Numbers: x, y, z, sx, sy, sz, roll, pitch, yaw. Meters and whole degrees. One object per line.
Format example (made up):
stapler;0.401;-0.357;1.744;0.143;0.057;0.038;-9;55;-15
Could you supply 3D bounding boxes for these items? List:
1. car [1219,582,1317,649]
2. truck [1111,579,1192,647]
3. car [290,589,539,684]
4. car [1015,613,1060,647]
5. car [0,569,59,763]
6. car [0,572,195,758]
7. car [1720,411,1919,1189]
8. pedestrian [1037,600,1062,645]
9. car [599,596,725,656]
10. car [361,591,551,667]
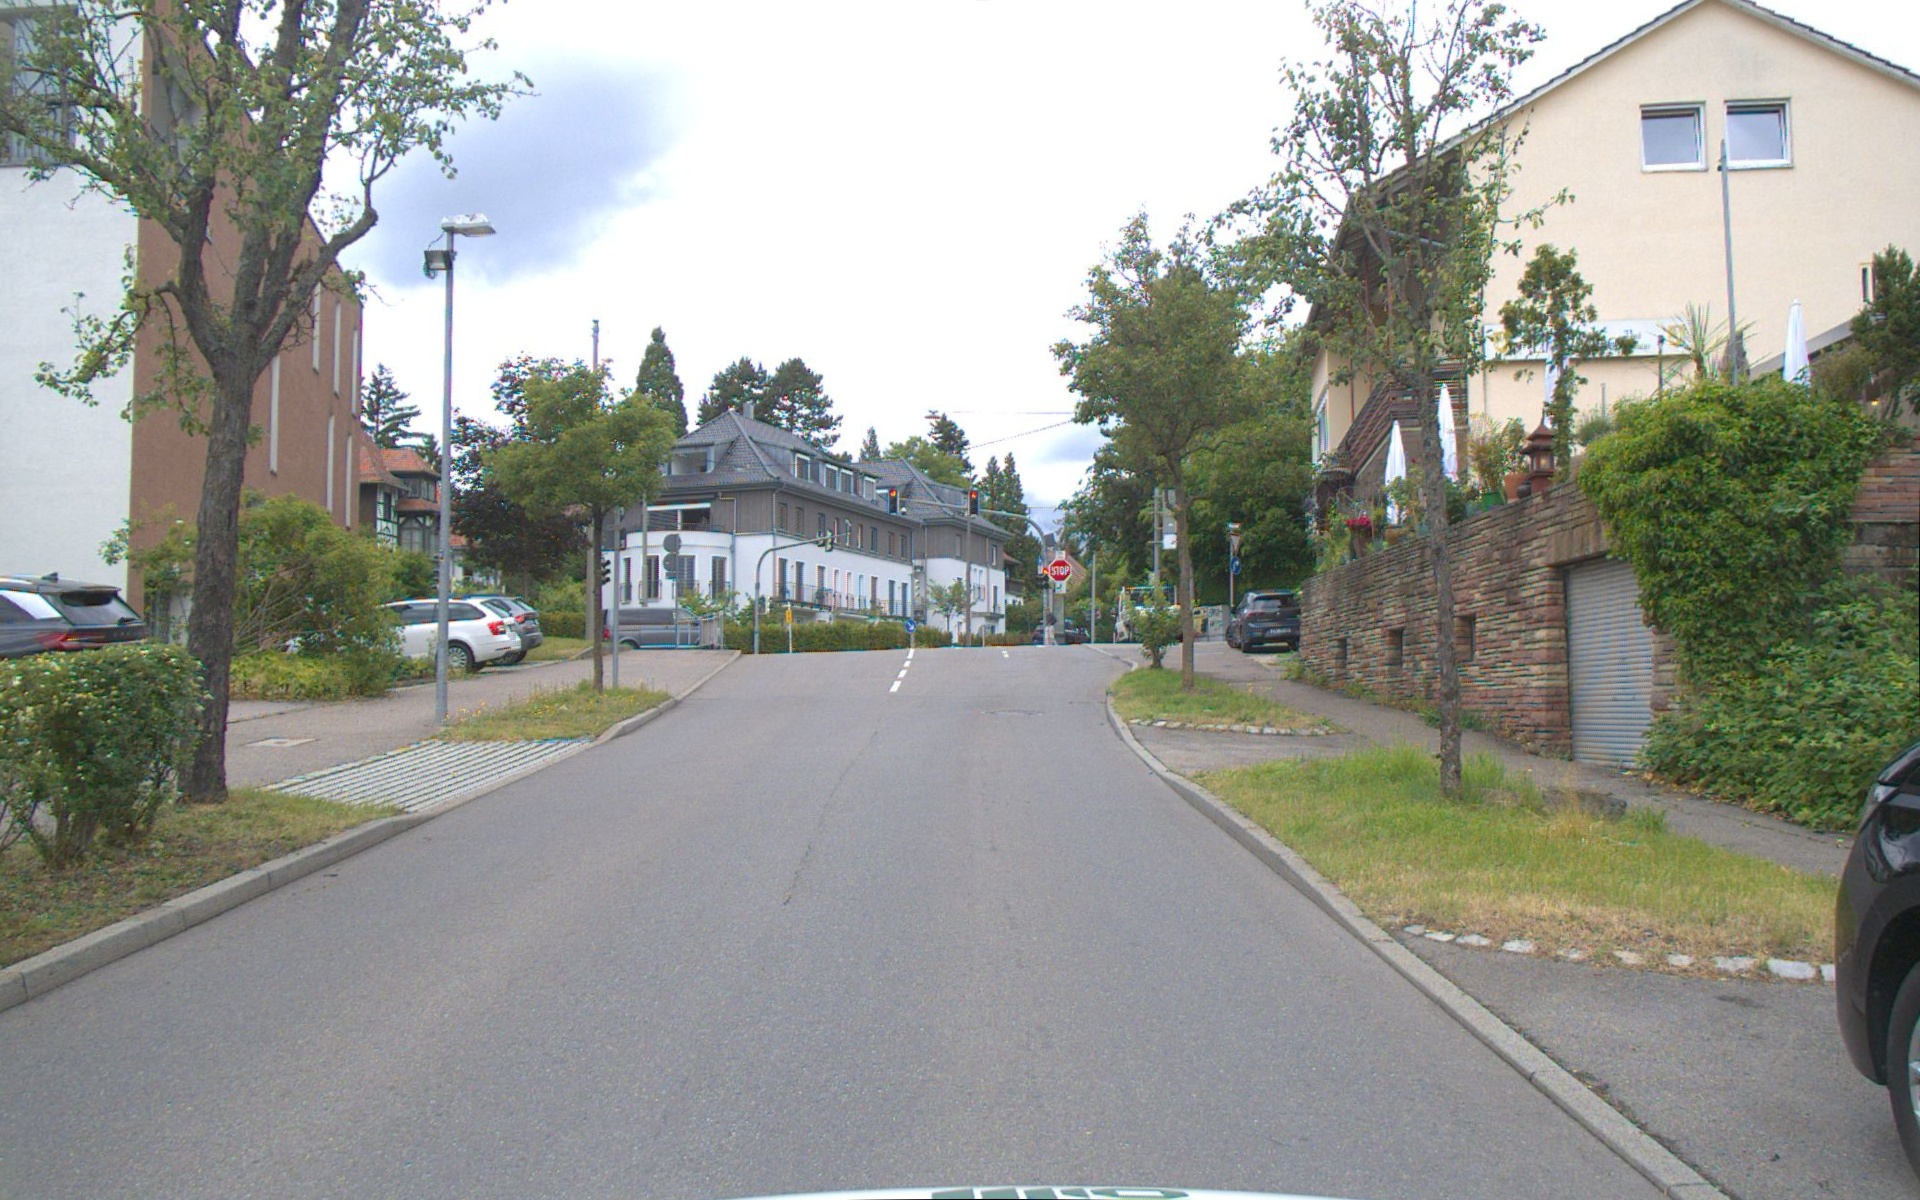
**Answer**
car;7.675;0.392;41.552;1.810;1.498;4.387;-3;-1;3
truck;7.009;0.548;61.130;2.139;2.234;5.878;0;-3;-2
car;-10.530;0.707;32.177;4.176;1.652;2.012;-2;-1;-4
car;3.800;1.421;80.207;2.109;1.517;4.714;-1;0;3
car;-10.017;0.588;13.348;4.298;1.594;2.065;-1;0;-3
car;-9.827;0.585;15.995;3.905;1.682;2.008;0;0;0
car;3.274;0.476;2.378;1.897;1.870;5.218;-1;0;-1
pedestrian;3.461;0.866;63.800;0.691;1.711;0.679;0;0;-31
car;-11.281;0.994;62.513;4.428;2.049;1.988;1;-7;-20
car;-10.986;0.610;36.262;3.688;1.489;1.729;-2;1;-7
